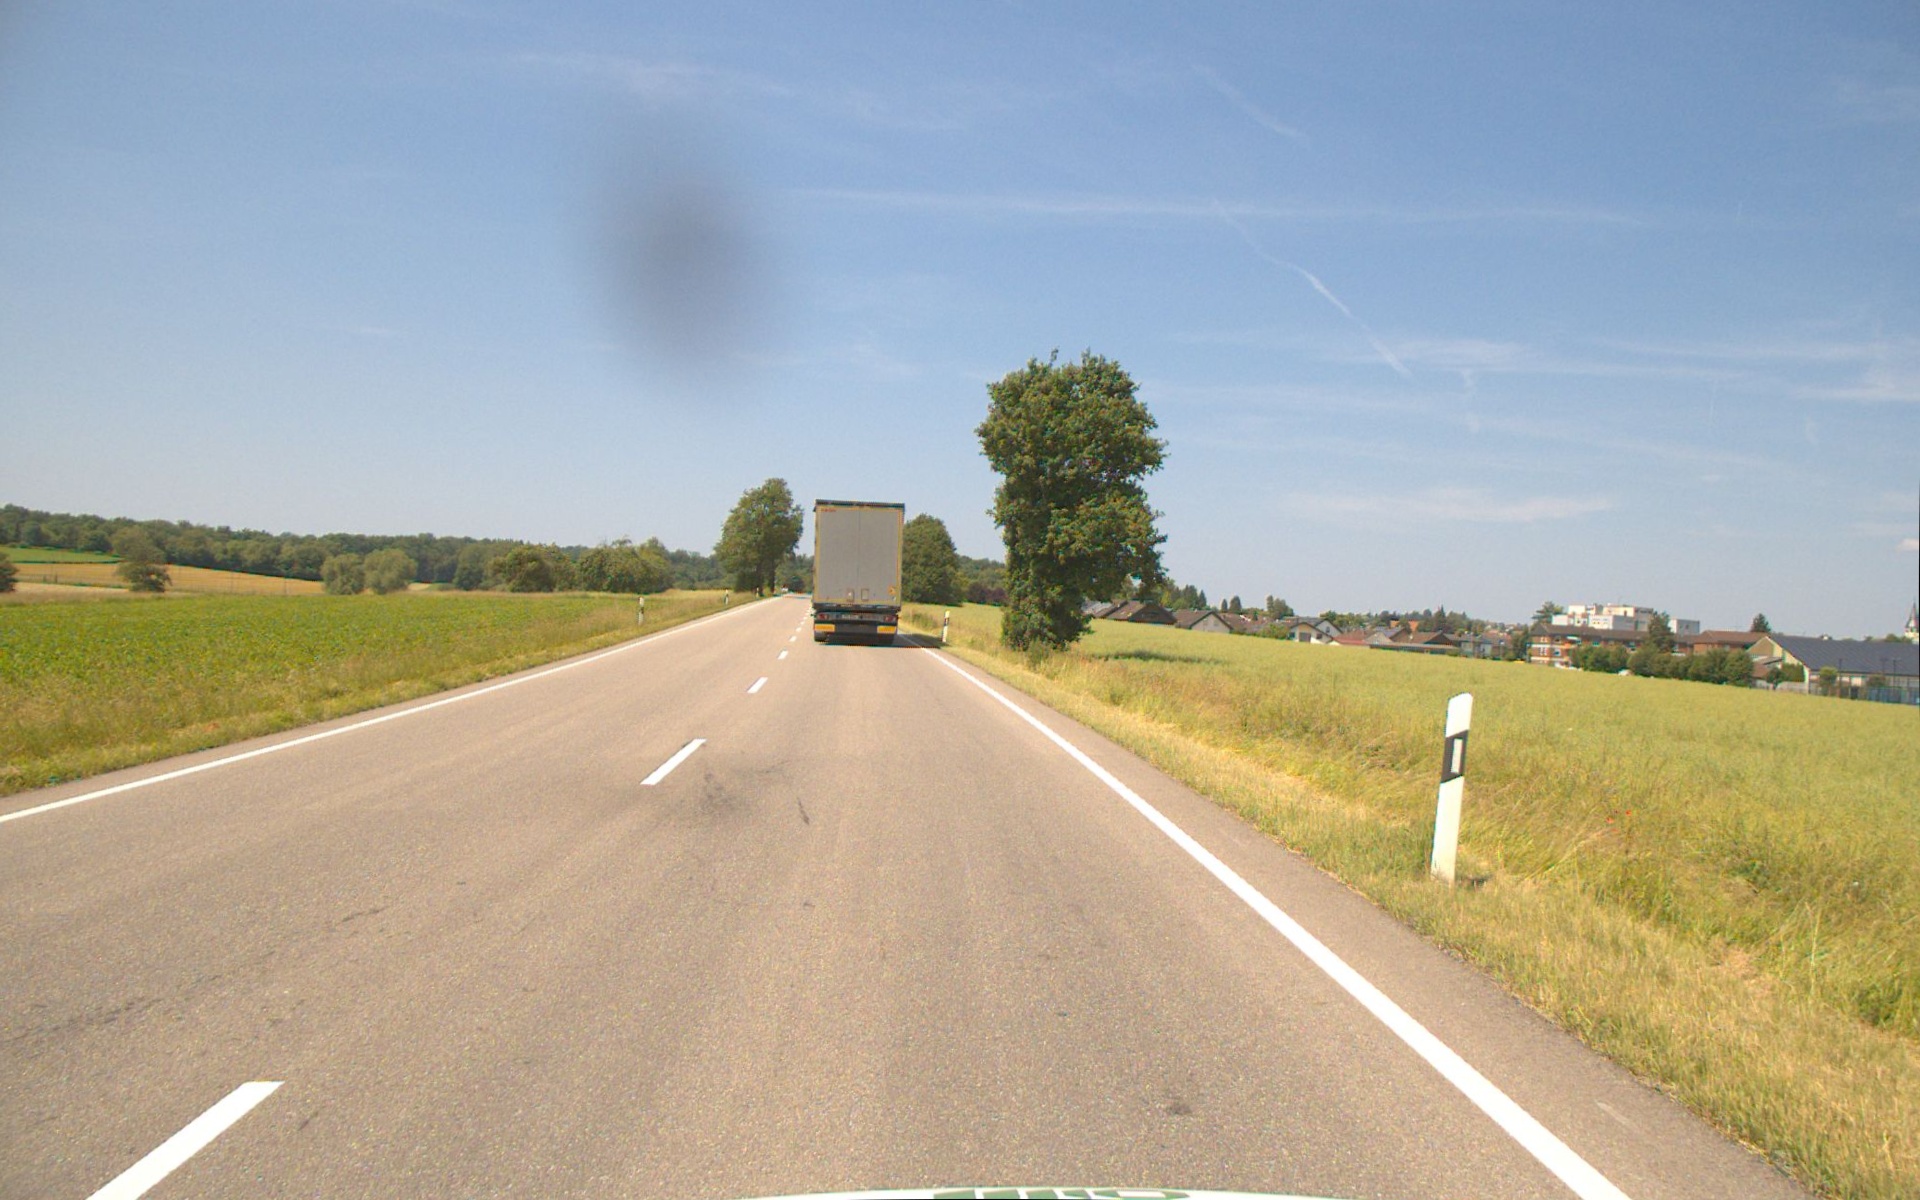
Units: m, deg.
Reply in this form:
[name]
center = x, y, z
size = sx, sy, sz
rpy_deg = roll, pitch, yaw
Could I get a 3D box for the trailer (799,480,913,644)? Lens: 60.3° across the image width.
[trailer]
center = -3.537, -1.119, 52.733
size = 2.812, 4.477, 13.474
rpy_deg = 2, 0, -6
